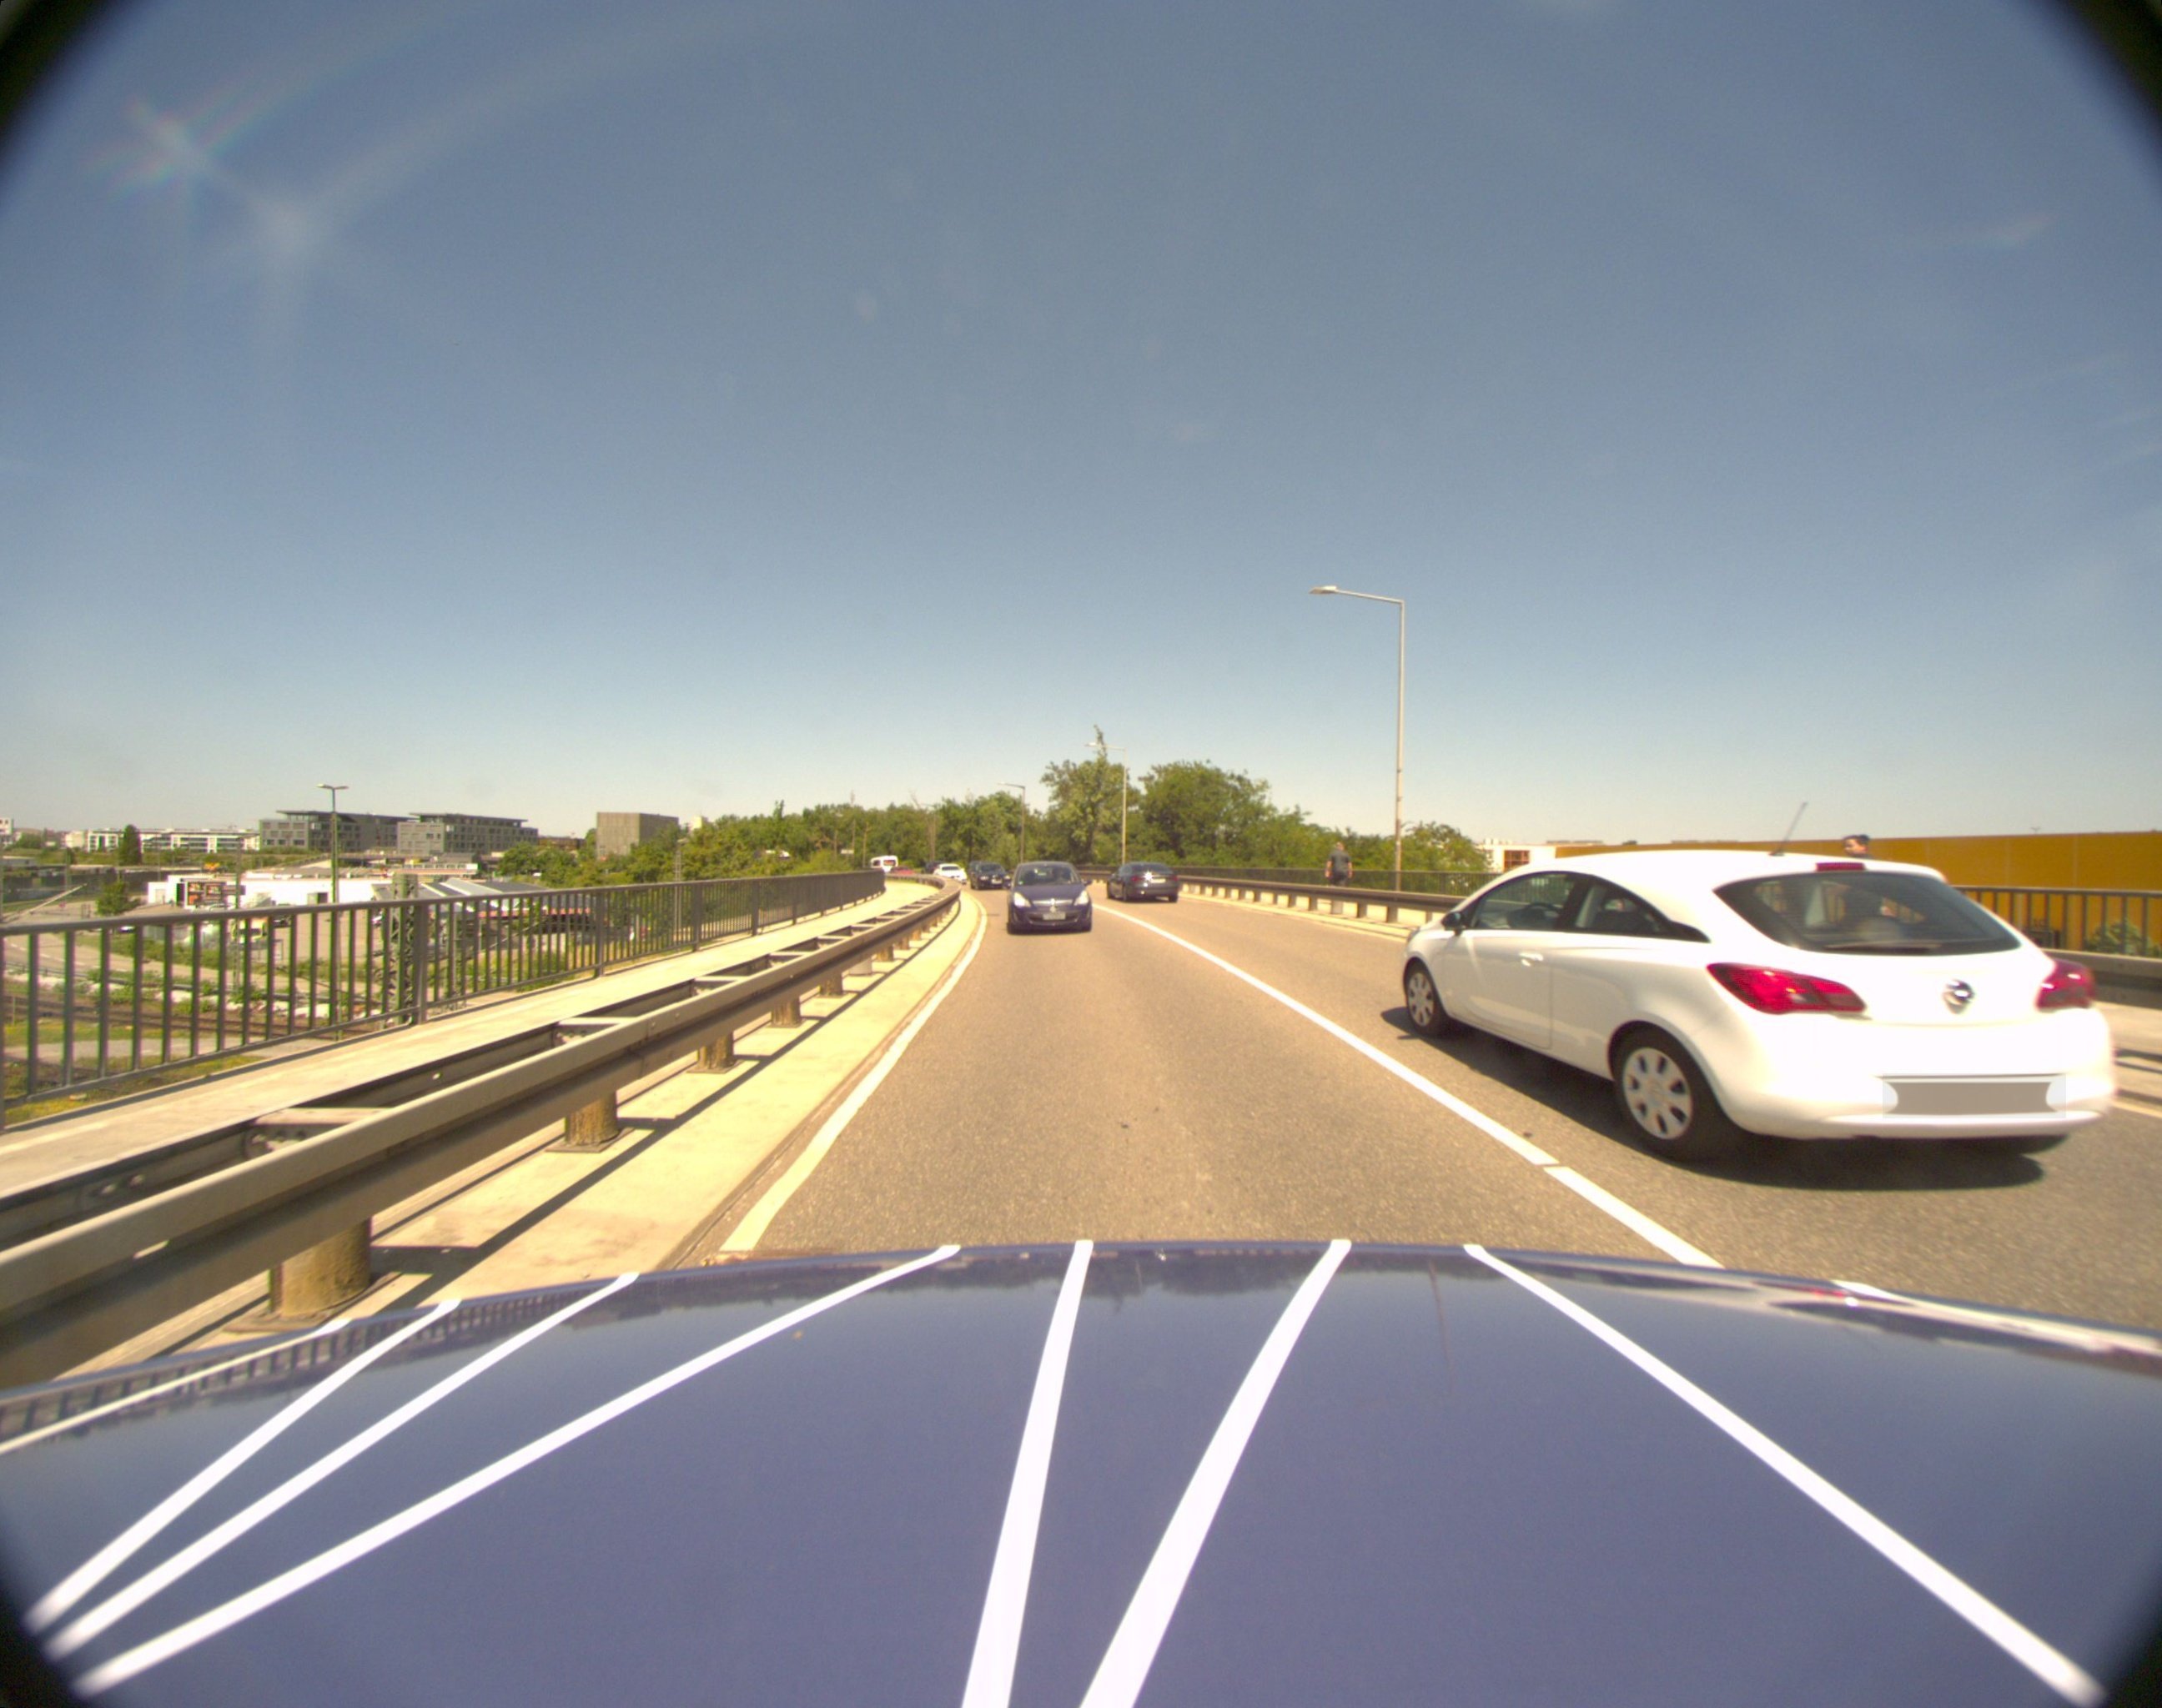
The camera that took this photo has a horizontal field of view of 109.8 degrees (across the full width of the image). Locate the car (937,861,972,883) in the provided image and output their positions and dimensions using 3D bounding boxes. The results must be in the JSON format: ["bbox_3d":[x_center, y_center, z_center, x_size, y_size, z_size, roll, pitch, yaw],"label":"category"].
[{"bbox_3d":[-8.863,1.195,52.915,1.819,1.419,3.710,-2,0,-18],"label":"car"}]

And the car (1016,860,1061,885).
[{"bbox_3d":[-2.609,1.088,45.706,1.796,1.411,3.767,0,1,-18],"label":"car"}]

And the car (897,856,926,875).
[{"bbox_3d":[-16.019,1.065,71.556,1.904,1.645,4.249,-1,1,-23],"label":"car"}]

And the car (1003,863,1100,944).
[{"bbox_3d":[-0.775,0.960,16.607,1.699,1.459,4.380,-2,0,-7],"label":"car"}]

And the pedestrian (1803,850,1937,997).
[{"bbox_3d":[8.635,0.731,8.348,0.716,1.552,0.694,0,1,0],"label":"pedestrian"}]

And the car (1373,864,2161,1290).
[{"bbox_3d":[3.432,0.839,4.708,1.729,1.475,3.865,0,1,-1],"label":"car"}]

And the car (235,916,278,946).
[{"bbox_3d":[-77.892,7.230,71.858,2.156,2.339,4.916,-7,3,-43],"label":"car"}]

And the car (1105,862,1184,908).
[{"bbox_3d":[2.131,1.022,26.869,1.795,1.407,4.571,0,1,-9],"label":"car"}]

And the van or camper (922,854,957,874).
[{"bbox_3d":[-13.667,0.930,73.254,2.003,1.750,4.687,-1,1,-28],"label":"van or camper"}]

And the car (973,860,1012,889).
[{"bbox_3d":[-4.704,1.044,39.957,1.571,1.408,4.118,-2,0,-12],"label":"car"}]

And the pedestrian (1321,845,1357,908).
[{"bbox_3d":[7.490,0.631,22.068,0.640,1.772,0.811,-2,1,-9],"label":"pedestrian"}]

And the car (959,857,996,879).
[{"bbox_3d":[-8.492,1.124,62.066,1.904,1.645,4.248,-1,1,-24],"label":"car"}]

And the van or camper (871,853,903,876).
[{"bbox_3d":[-23.093,1.247,90.065,2.058,2.522,5.869,-1,0,-31],"label":"van or camper"}]
